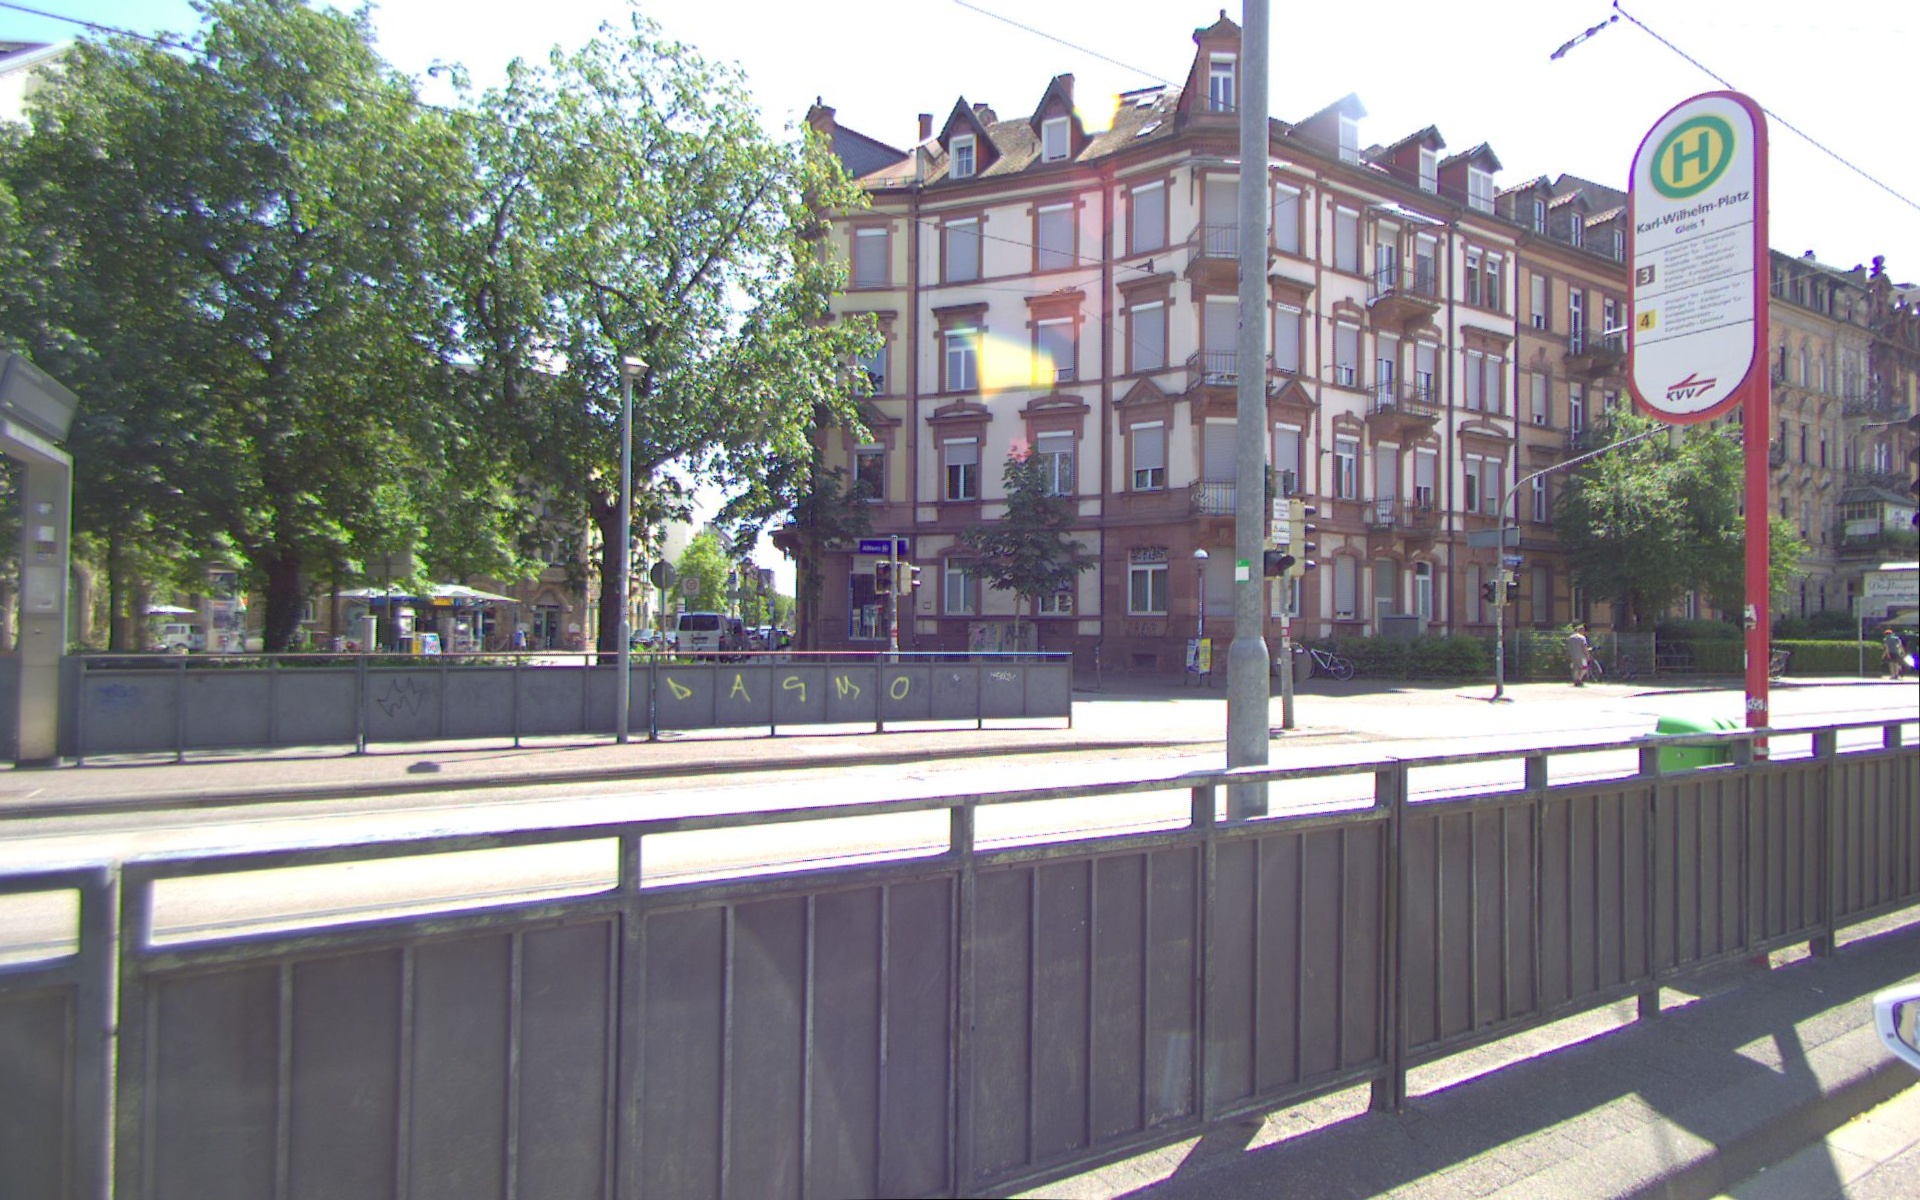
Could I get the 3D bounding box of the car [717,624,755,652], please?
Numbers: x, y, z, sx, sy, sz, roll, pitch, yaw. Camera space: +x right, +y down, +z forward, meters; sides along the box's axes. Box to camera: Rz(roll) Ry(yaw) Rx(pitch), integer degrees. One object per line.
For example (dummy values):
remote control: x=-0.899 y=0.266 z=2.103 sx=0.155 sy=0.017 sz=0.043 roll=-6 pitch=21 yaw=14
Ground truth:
car: x=-13.124 y=2.201 z=59.120 sx=1.964 sy=1.584 sz=4.582 roll=1 pitch=-2 yaw=-10

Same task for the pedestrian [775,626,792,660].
pedestrian: x=-8.348 y=2.030 z=47.557 sx=0.729 sy=1.625 sz=0.761 roll=1 pitch=-1 yaw=-6

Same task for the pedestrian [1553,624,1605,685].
pedestrian: x=17.794 y=1.551 z=28.871 sx=0.999 sy=1.722 sz=0.870 roll=1 pitch=-2 yaw=-24

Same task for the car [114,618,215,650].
car: x=-44.014 y=1.887 z=55.630 sx=3.929 sy=1.720 sz=1.808 roll=1 pitch=-2 yaw=-11

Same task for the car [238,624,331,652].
car: x=-37.902 y=2.119 z=56.449 sx=3.929 sy=1.520 sz=1.691 roll=1 pitch=-2 yaw=-11

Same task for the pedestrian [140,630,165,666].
pedestrian: x=-31.416 y=1.855 z=39.103 sx=0.696 sy=1.367 sz=0.597 roll=1 pitch=-2 yaw=-36

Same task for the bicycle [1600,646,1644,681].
bicycle: x=20.668 y=1.962 z=31.361 sx=1.544 sy=1.070 sz=0.458 roll=1 pitch=-2 yaw=-27

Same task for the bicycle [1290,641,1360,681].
bicycle: x=10.686 y=1.787 z=29.457 sx=1.885 sy=1.122 sz=0.467 roll=0 pitch=-1 yaw=9

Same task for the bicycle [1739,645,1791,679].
bicycle: x=27.564 y=2.107 z=34.403 sx=1.906 sy=1.108 sz=0.636 roll=1 pitch=0 yaw=-27

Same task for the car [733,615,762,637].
car: x=-16.387 y=2.008 z=77.549 sx=1.964 sy=1.584 sz=4.582 roll=1 pitch=-2 yaw=-10

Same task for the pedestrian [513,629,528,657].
pedestrian: x=-25.071 y=2.474 z=57.300 sx=0.539 sy=1.577 sz=0.501 roll=0 pitch=-1 yaw=15

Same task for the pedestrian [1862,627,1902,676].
pedestrian: x=35.633 y=1.980 z=38.829 sx=0.800 sy=1.881 sz=0.879 roll=0 pitch=-1 yaw=10

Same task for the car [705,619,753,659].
car: x=-11.014 y=1.860 z=48.130 sx=1.964 sy=1.833 sz=4.582 roll=1 pitch=-2 yaw=-10

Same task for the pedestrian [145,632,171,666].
pedestrian: x=-32.168 y=1.964 z=40.305 sx=0.594 sy=1.367 sz=0.700 roll=1 pitch=-2 yaw=-18

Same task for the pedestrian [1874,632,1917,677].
pedestrian: x=36.523 y=2.100 z=39.212 sx=0.808 sy=1.722 sz=0.911 roll=1 pitch=-1 yaw=-3

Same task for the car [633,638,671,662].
car: x=-21.616 y=3.493 z=70.589 sx=1.964 sy=1.584 sz=4.582 roll=1 pitch=-2 yaw=-10

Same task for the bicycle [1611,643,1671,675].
bicycle: x=22.686 y=1.962 z=33.478 sx=0.489 sy=1.009 sz=1.640 roll=1 pitch=-2 yaw=-27

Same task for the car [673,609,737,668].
car: x=-9.594 y=1.440 z=38.118 sx=1.964 sy=2.094 sz=4.582 roll=1 pitch=-2 yaw=-10

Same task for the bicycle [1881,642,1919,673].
bicycle: x=40.023 y=2.430 z=42.204 sx=0.562 sy=1.244 sz=1.860 roll=1 pitch=0 yaw=-32

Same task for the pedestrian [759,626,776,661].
pedestrian: x=-9.093 y=2.040 z=47.434 sx=0.729 sy=1.625 sz=0.761 roll=1 pitch=-1 yaw=-6

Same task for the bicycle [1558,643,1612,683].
bicycle: x=18.839 y=1.888 z=30.271 sx=1.694 sy=1.184 sz=0.571 roll=1 pitch=-2 yaw=-27
